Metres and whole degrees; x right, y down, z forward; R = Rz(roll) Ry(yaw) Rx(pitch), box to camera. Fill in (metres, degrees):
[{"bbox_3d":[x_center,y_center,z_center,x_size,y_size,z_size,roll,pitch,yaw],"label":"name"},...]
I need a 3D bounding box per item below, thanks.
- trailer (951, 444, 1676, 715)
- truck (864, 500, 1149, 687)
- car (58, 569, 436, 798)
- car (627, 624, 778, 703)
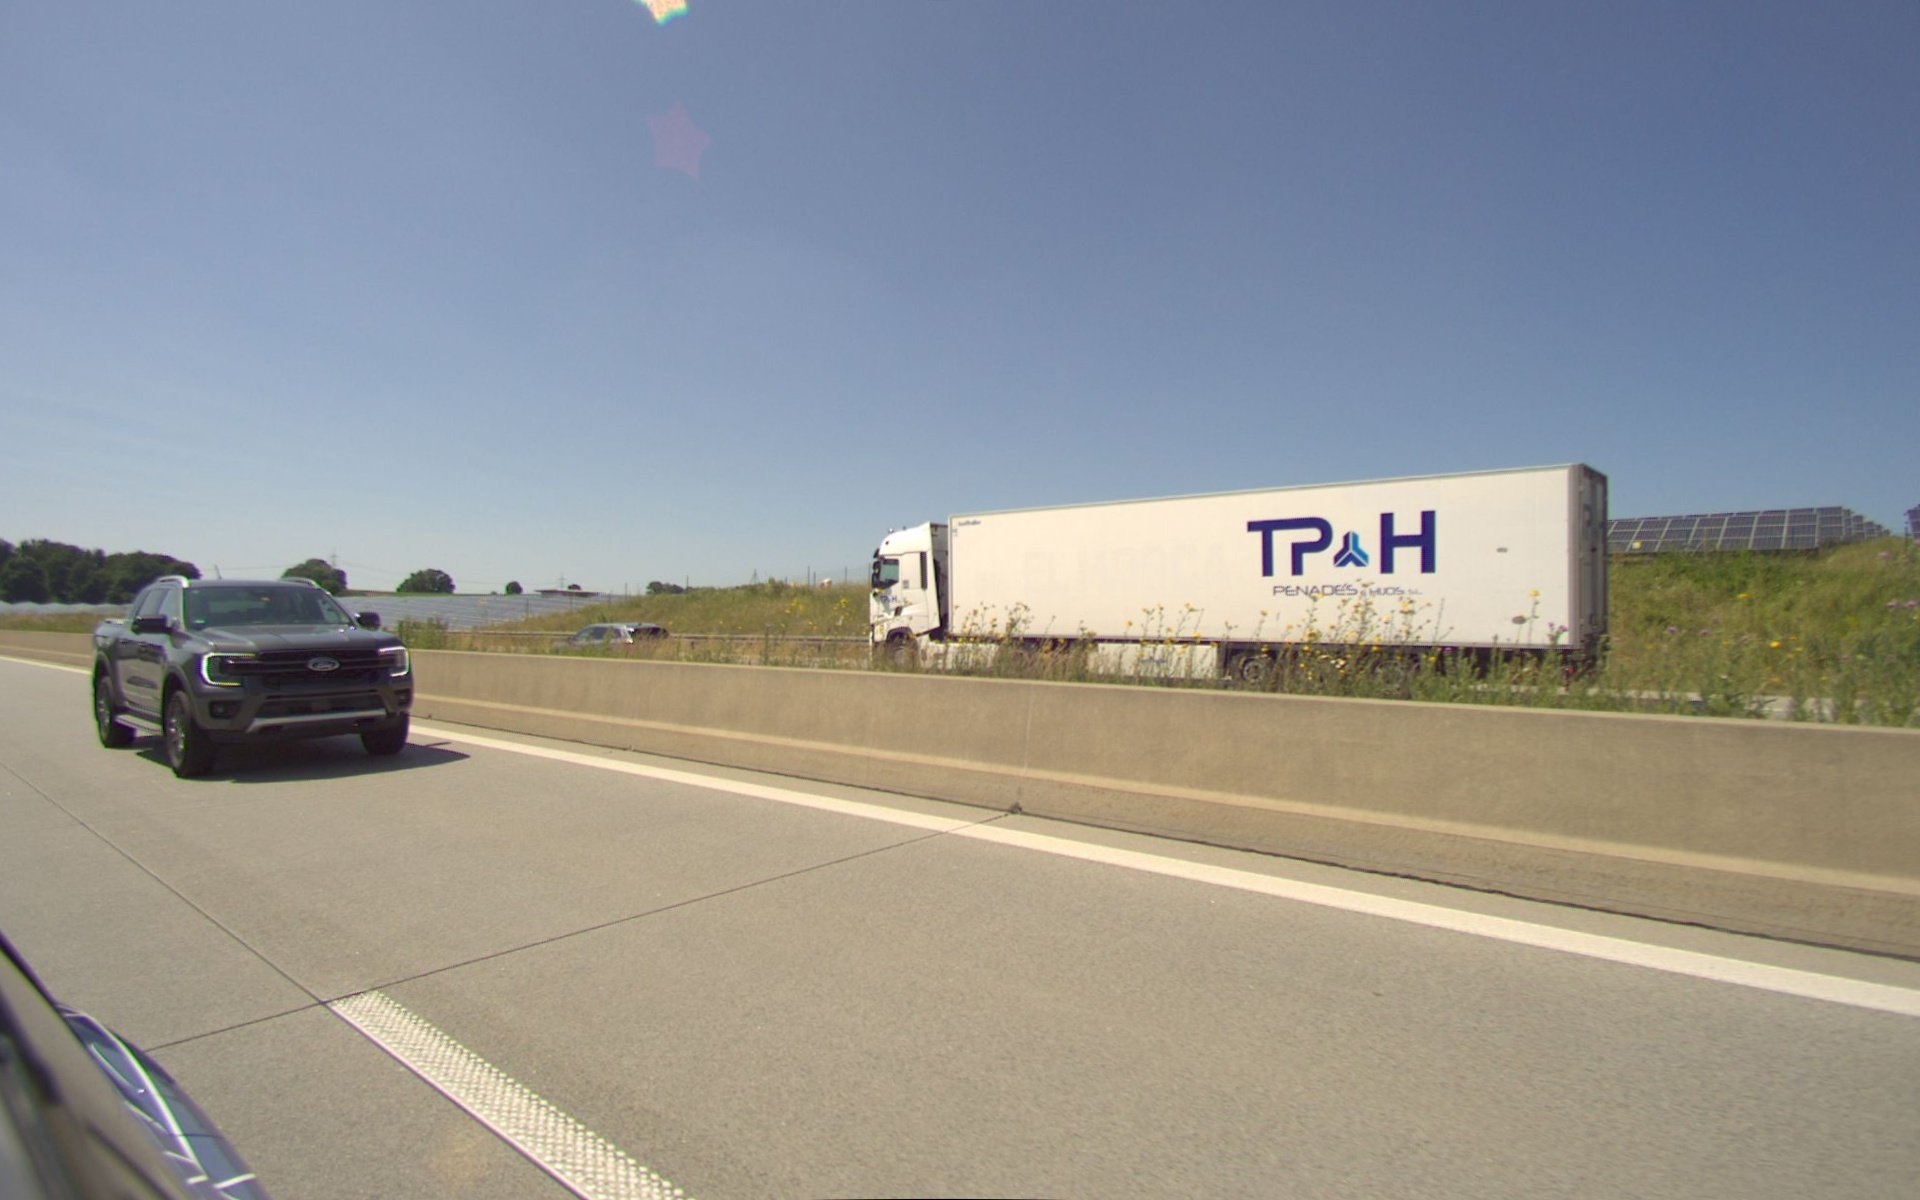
[{"bbox_3d":[6.077,-0.187,21.075,14.171,4.091,2.974,-1,-1,41],"label":"trailer"},{"bbox_3d":[1.009,-0.084,25.525,6.866,4.091,2.959,-1,-1,41],"label":"truck"},{"bbox_3d":[-8.103,0.706,11.125,6.528,1.860,1.972,-1,0,42],"label":"car"},{"bbox_3d":[-6.598,1.533,25.739,3.997,1.837,1.725,-1,-1,40],"label":"car"}]
